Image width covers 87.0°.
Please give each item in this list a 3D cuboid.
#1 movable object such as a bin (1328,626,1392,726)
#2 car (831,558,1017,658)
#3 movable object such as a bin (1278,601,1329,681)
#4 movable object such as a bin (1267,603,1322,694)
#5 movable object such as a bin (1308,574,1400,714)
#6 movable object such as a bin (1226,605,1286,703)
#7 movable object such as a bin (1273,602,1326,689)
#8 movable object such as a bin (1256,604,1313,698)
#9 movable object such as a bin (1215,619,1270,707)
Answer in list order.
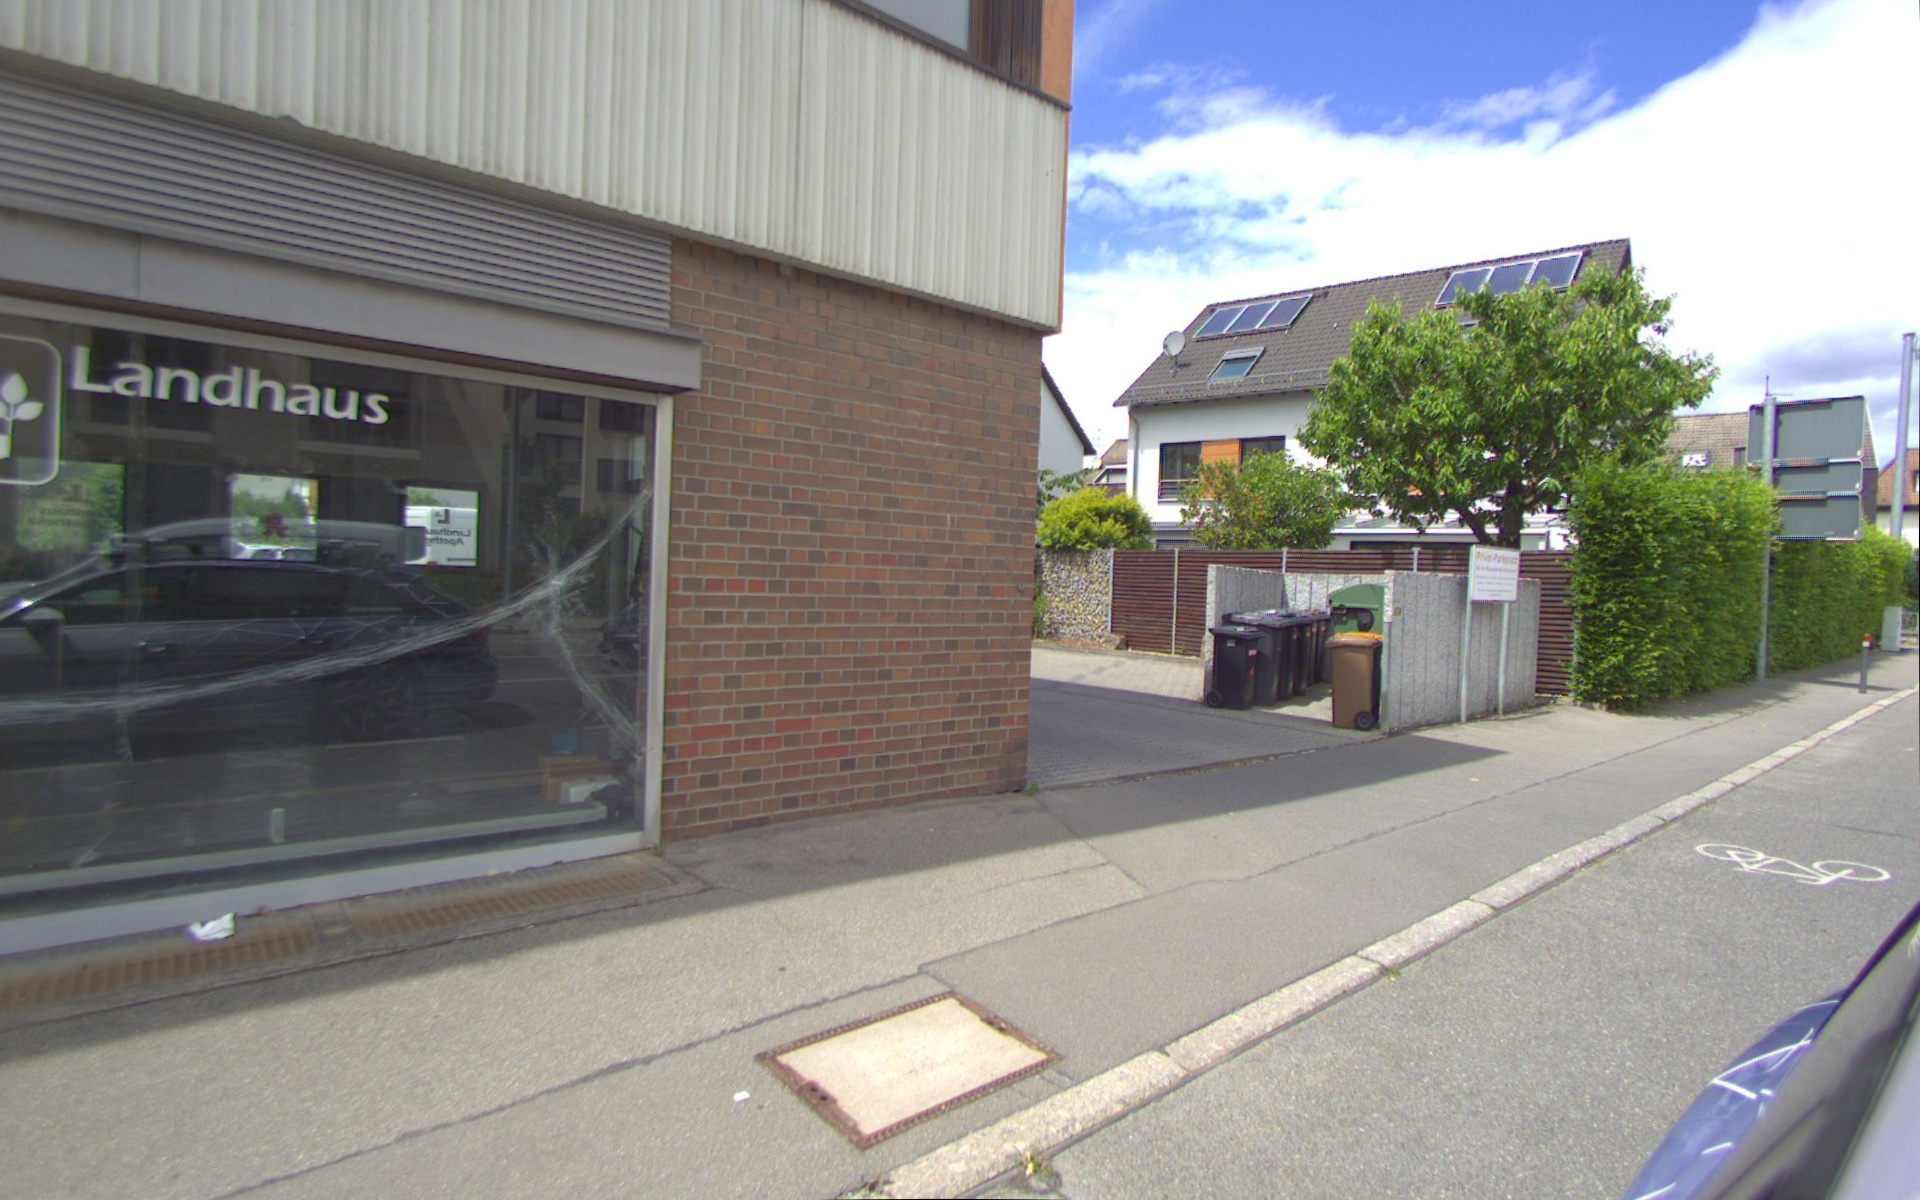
[{"bbox_3d":[4.013,0.742,10.143,0.514,0.933,0.474,1,1,31],"label":"movable object such as a bin"},{"bbox_3d":[-0.535,0.055,18.587,1.977,1.615,3.971,1,2,22],"label":"car"},{"bbox_3d":[4.833,0.562,14.231,0.591,1.088,0.484,1,1,30],"label":"movable object such as a bin"},{"bbox_3d":[4.201,0.595,12.693,0.590,1.088,0.485,1,1,25],"label":"movable object such as a bin"},{"bbox_3d":[4.344,0.460,11.174,0.471,1.473,0.808,0,1,-45],"label":"movable object such as a bin"},{"bbox_3d":[3.472,0.615,11.861,0.590,1.088,0.485,1,1,25],"label":"movable object such as a bin"},{"bbox_3d":[4.423,0.574,13.175,0.590,1.088,0.485,1,1,25],"label":"movable object such as a bin"},{"bbox_3d":[3.927,0.597,12.238,0.590,1.088,0.485,1,1,25],"label":"movable object such as a bin"},{"bbox_3d":[3.195,0.699,11.443,0.513,0.933,0.475,1,1,25],"label":"movable object such as a bin"}]
